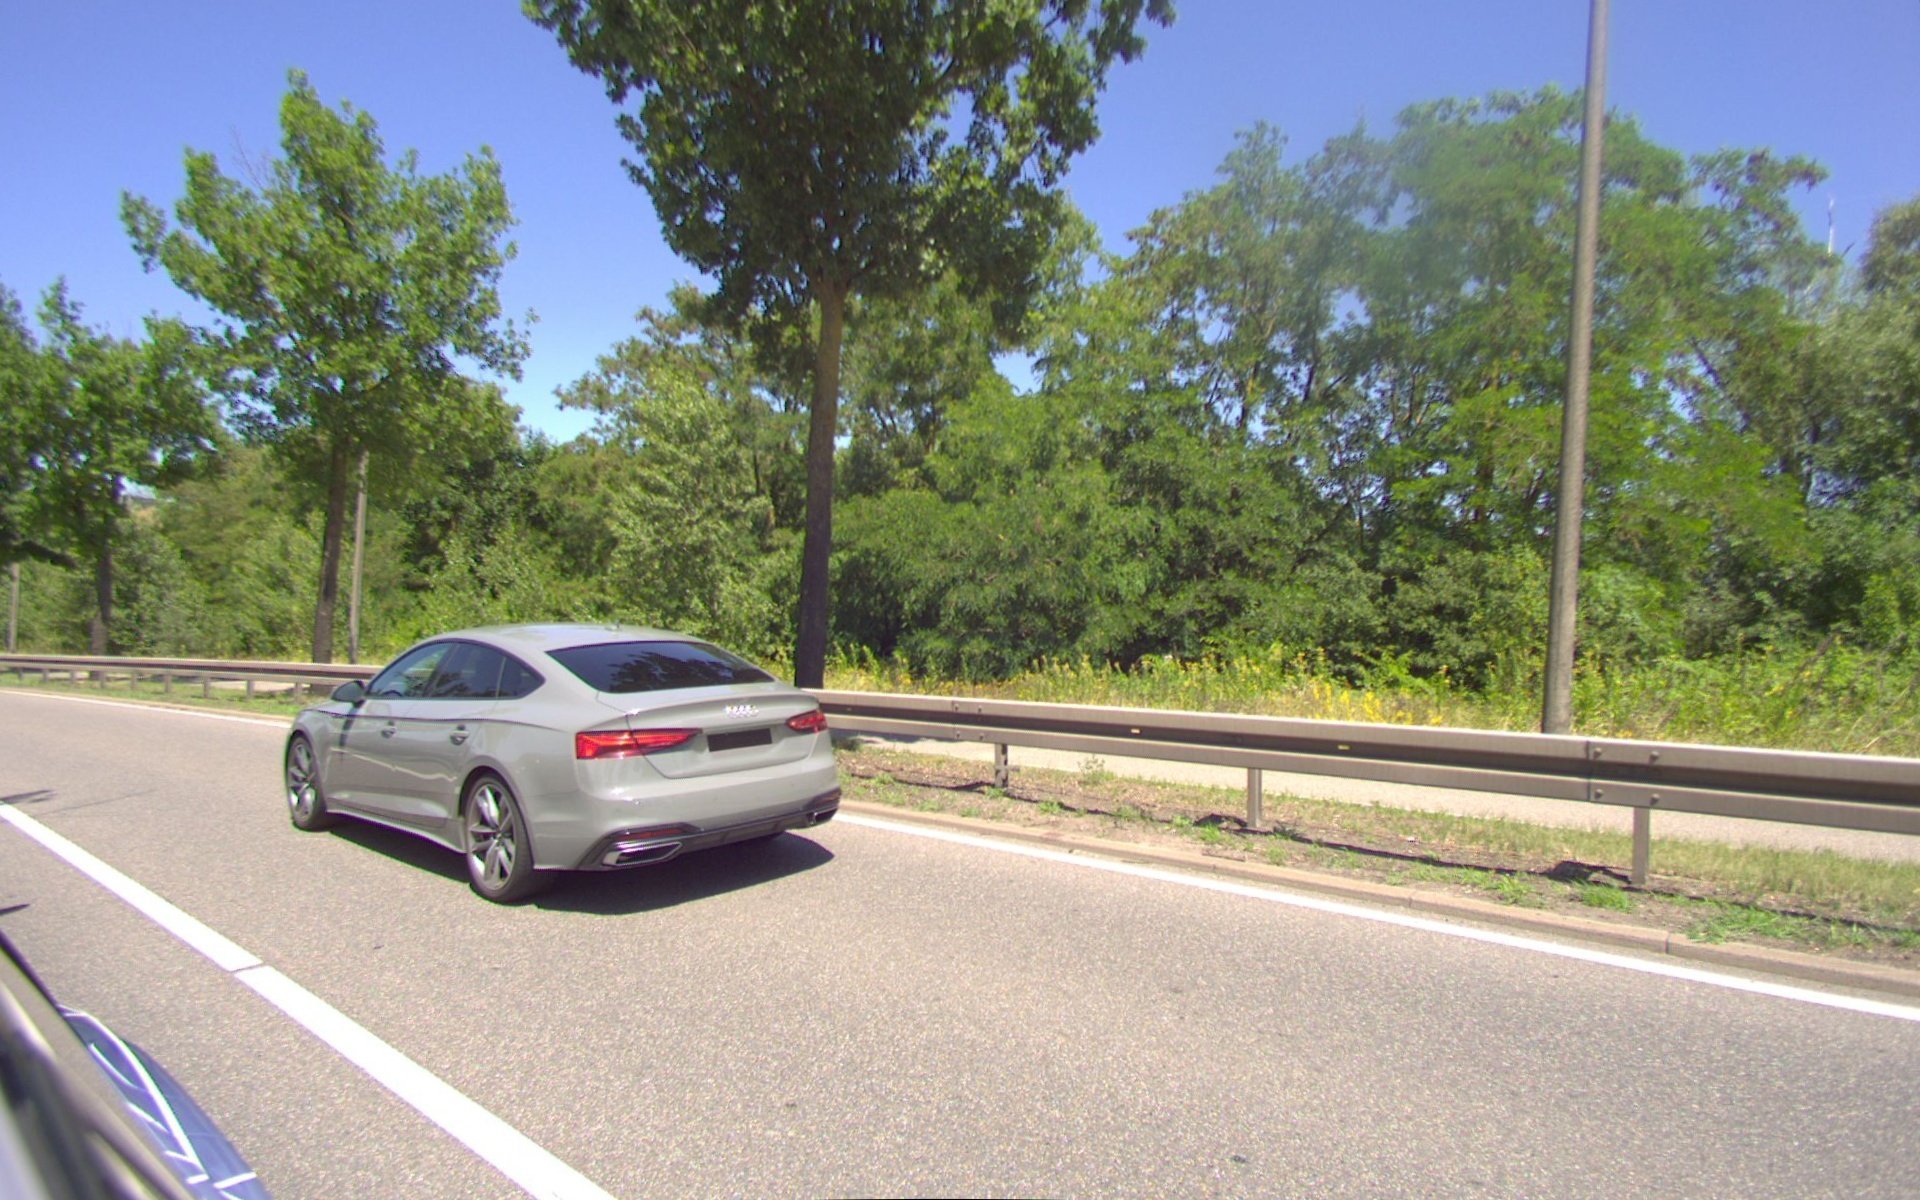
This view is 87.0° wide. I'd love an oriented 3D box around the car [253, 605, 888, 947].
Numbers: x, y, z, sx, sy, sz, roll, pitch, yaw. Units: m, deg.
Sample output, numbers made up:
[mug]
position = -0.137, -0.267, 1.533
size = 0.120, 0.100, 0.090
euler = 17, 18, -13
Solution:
[car]
position = -2.650, 0.771, 6.300
size = 4.401, 1.406, 1.742
euler = -1, 0, 39
